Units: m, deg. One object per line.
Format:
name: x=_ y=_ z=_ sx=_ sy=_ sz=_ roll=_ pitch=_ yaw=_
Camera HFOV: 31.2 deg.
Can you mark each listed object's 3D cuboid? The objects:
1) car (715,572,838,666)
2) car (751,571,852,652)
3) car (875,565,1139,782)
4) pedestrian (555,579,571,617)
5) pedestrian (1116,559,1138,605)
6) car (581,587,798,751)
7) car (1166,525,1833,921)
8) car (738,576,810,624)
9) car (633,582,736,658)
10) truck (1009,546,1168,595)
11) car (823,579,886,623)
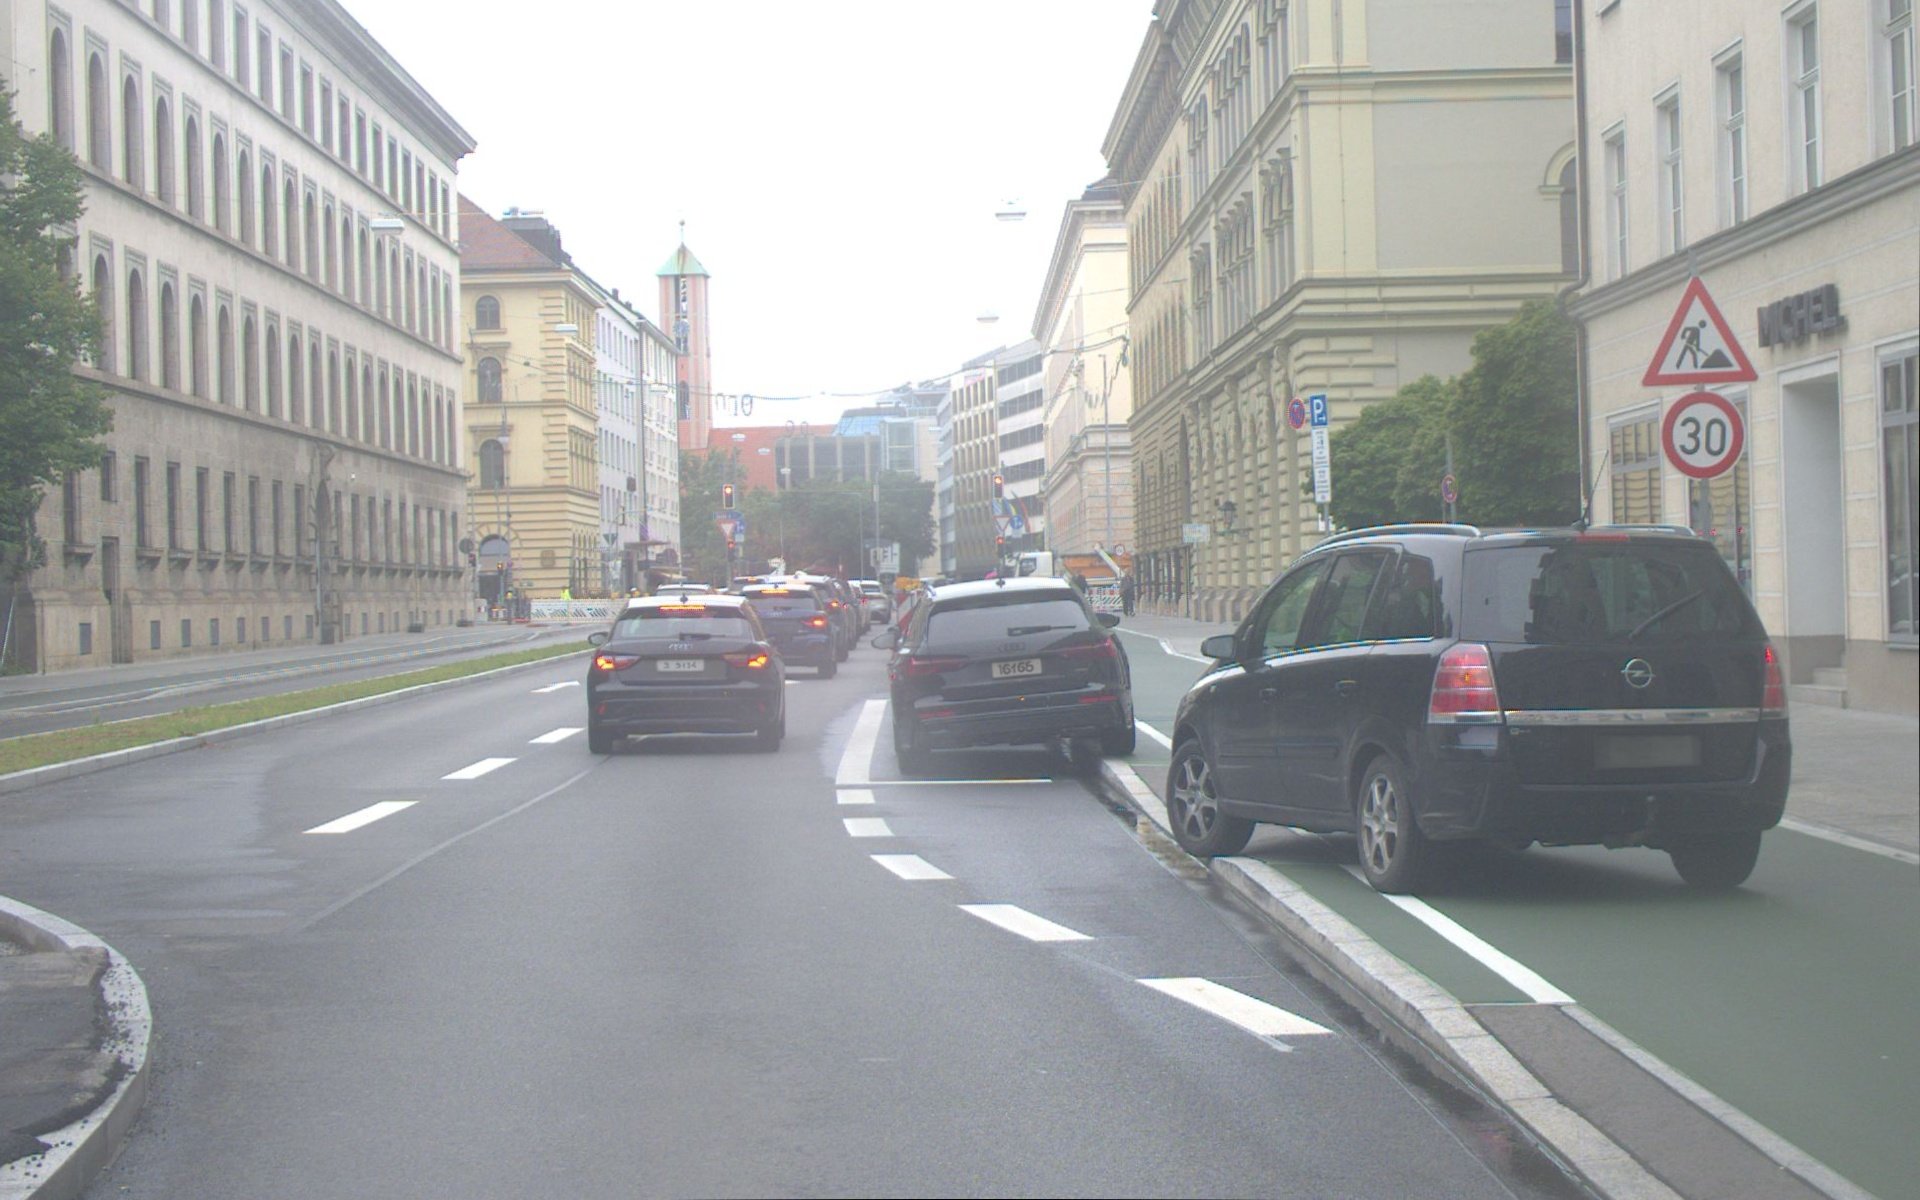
car: x=-2.820 y=0.265 z=53.513 sx=1.730 sy=1.398 sz=4.000 roll=0 pitch=1 yaw=0
car: x=-2.919 y=0.192 z=63.874 sx=1.730 sy=1.456 sz=4.000 roll=0 pitch=1 yaw=0
car: x=0.301 y=0.530 z=28.103 sx=1.808 sy=1.475 sz=4.462 roll=-5 pitch=1 yaw=-2
pedestrian: x=-19.436 y=-0.102 z=168.357 sx=0.656 sy=1.799 sz=0.727 roll=-1 pitch=0 yaw=-1
pedestrian: x=5.983 y=-0.651 z=123.148 sx=0.710 sy=1.612 sz=0.754 roll=-1 pitch=0 yaw=-1
car: x=-2.454 y=0.595 z=31.967 sx=1.730 sy=1.398 sz=4.000 roll=0 pitch=1 yaw=0
car: x=2.360 y=0.479 z=16.141 sx=1.764 sy=1.610 sz=4.031 roll=0 pitch=1 yaw=-12
car: x=-5.795 y=-0.019 z=107.468 sx=1.993 sy=1.439 sz=4.000 roll=-1 pitch=0 yaw=0
car: x=-6.228 y=0.431 z=78.081 sx=1.993 sy=1.622 sz=4.000 roll=-1 pitch=0 yaw=0
truck: x=6.036 y=-1.371 z=161.470 sx=7.386 sy=2.245 sz=2.179 roll=0 pitch=0 yaw=2
car: x=-3.607 y=0.030 z=118.272 sx=1.993 sy=1.439 sz=4.000 roll=-1 pitch=0 yaw=0
